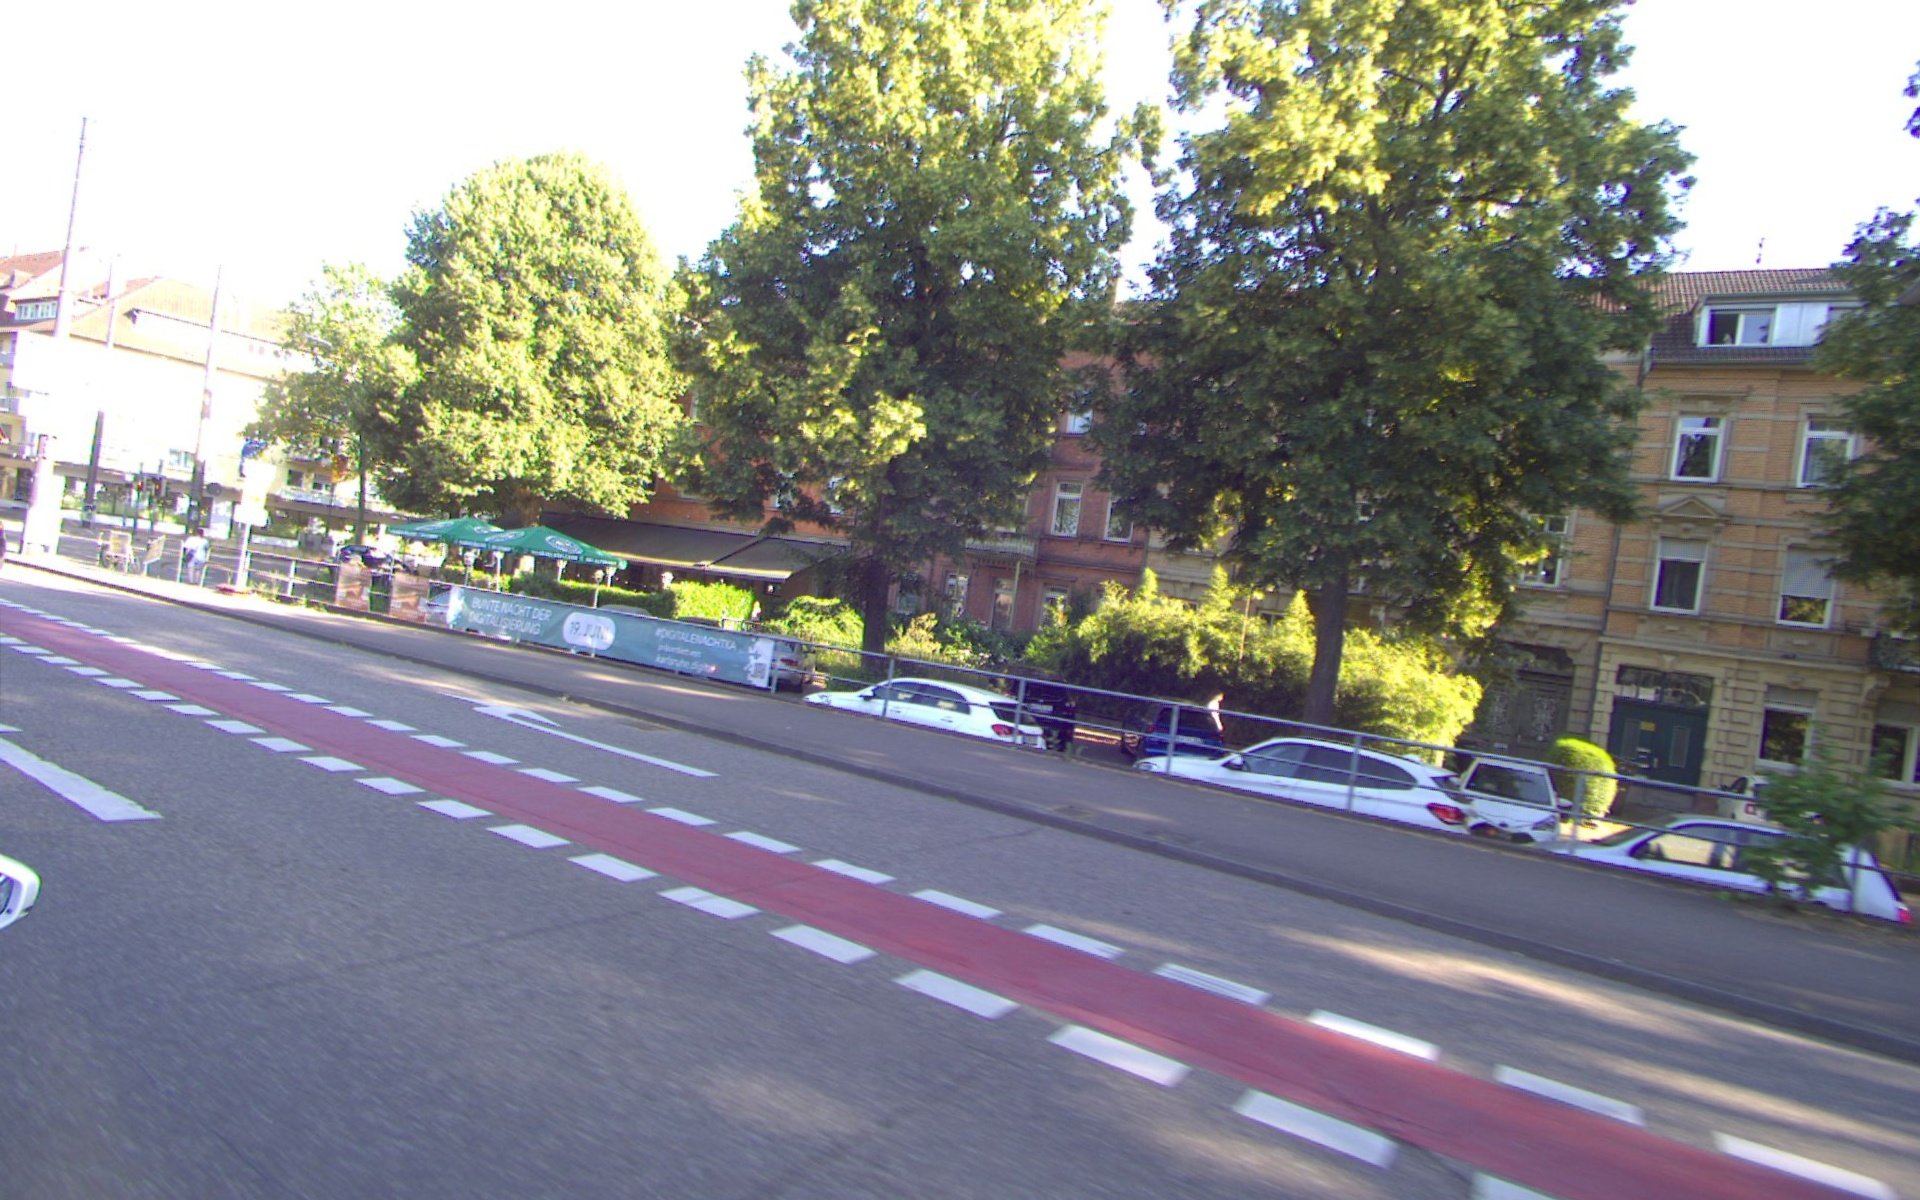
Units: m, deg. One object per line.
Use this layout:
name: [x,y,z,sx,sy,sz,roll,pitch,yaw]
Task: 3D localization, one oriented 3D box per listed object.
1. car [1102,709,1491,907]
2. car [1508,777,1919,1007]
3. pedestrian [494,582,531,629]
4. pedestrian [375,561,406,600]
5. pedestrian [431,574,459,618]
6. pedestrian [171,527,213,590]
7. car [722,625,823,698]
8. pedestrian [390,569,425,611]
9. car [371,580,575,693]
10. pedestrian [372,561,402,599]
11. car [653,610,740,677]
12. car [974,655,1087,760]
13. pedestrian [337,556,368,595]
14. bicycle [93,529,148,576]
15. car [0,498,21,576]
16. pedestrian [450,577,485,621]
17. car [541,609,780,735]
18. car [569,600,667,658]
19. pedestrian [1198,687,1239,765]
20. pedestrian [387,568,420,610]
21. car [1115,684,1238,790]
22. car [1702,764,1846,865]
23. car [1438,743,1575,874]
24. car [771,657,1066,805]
car: [4.389,2.572,13.330,4.478,1.597,1.798,6,-2,32]
car: [8.096,3.025,11.034,3.517,1.458,1.799,6,-2,30]
pedestrian: [-14.100,0.185,31.682,0.621,1.352,0.650,7,-3,32]
pedestrian: [-22.183,-0.754,39.157,0.621,1.352,0.650,7,-3,32]
pedestrian: [-17.253,-0.137,33.716,0.643,1.352,0.628,10,-3,-28]
pedestrian: [-20.441,-1.107,26.773,0.646,1.580,0.625,11,-3,-39]
car: [-4.946,1.584,27.121,1.929,1.424,4.247,8,0,-3]
pedestrian: [-19.266,-0.344,35.095,0.621,1.352,0.650,7,-3,32]
car: [-10.859,0.793,22.371,4.285,1.919,1.799,6,-2,30]
pedestrian: [-22.747,-0.791,39.959,0.621,1.352,0.650,7,-3,32]
car: [-7.610,1.220,29.369,1.769,1.498,3.994,8,0,-7]
car: [1.506,2.379,23.167,1.768,1.756,3.995,8,0,-5]
pedestrian: [-23.463,-0.938,38.872,0.621,1.352,0.650,7,-3,32]
bicycle: [-22.315,-1.262,26.737,1.770,1.087,0.499,6,-2,32]
car: [-20.303,-1.485,19.619,3.978,1.455,1.804,7,-2,32]
pedestrian: [-16.394,-0.035,33.501,0.621,1.352,0.650,7,-3,32]
car: [-5.837,1.385,19.602,4.136,1.823,1.800,6,-2,25]
car: [-10.303,0.833,30.607,1.748,1.365,3.996,8,0,-5]
pedestrian: [6.158,2.991,23.988,0.621,1.767,0.649,7,0,27]
pedestrian: [-19.867,-0.385,35.920,0.621,1.352,0.650,7,-3,32]
car: [4.582,2.876,21.879,1.766,1.532,4.000,8,0,2]
car: [18.493,4.814,23.033,1.769,1.540,3.572,7,0,29]
car: [9.812,3.596,18.059,1.769,1.532,3.993,8,0,30]
car: [-0.719,2.029,16.259,4.369,1.597,1.798,6,-2,32]
